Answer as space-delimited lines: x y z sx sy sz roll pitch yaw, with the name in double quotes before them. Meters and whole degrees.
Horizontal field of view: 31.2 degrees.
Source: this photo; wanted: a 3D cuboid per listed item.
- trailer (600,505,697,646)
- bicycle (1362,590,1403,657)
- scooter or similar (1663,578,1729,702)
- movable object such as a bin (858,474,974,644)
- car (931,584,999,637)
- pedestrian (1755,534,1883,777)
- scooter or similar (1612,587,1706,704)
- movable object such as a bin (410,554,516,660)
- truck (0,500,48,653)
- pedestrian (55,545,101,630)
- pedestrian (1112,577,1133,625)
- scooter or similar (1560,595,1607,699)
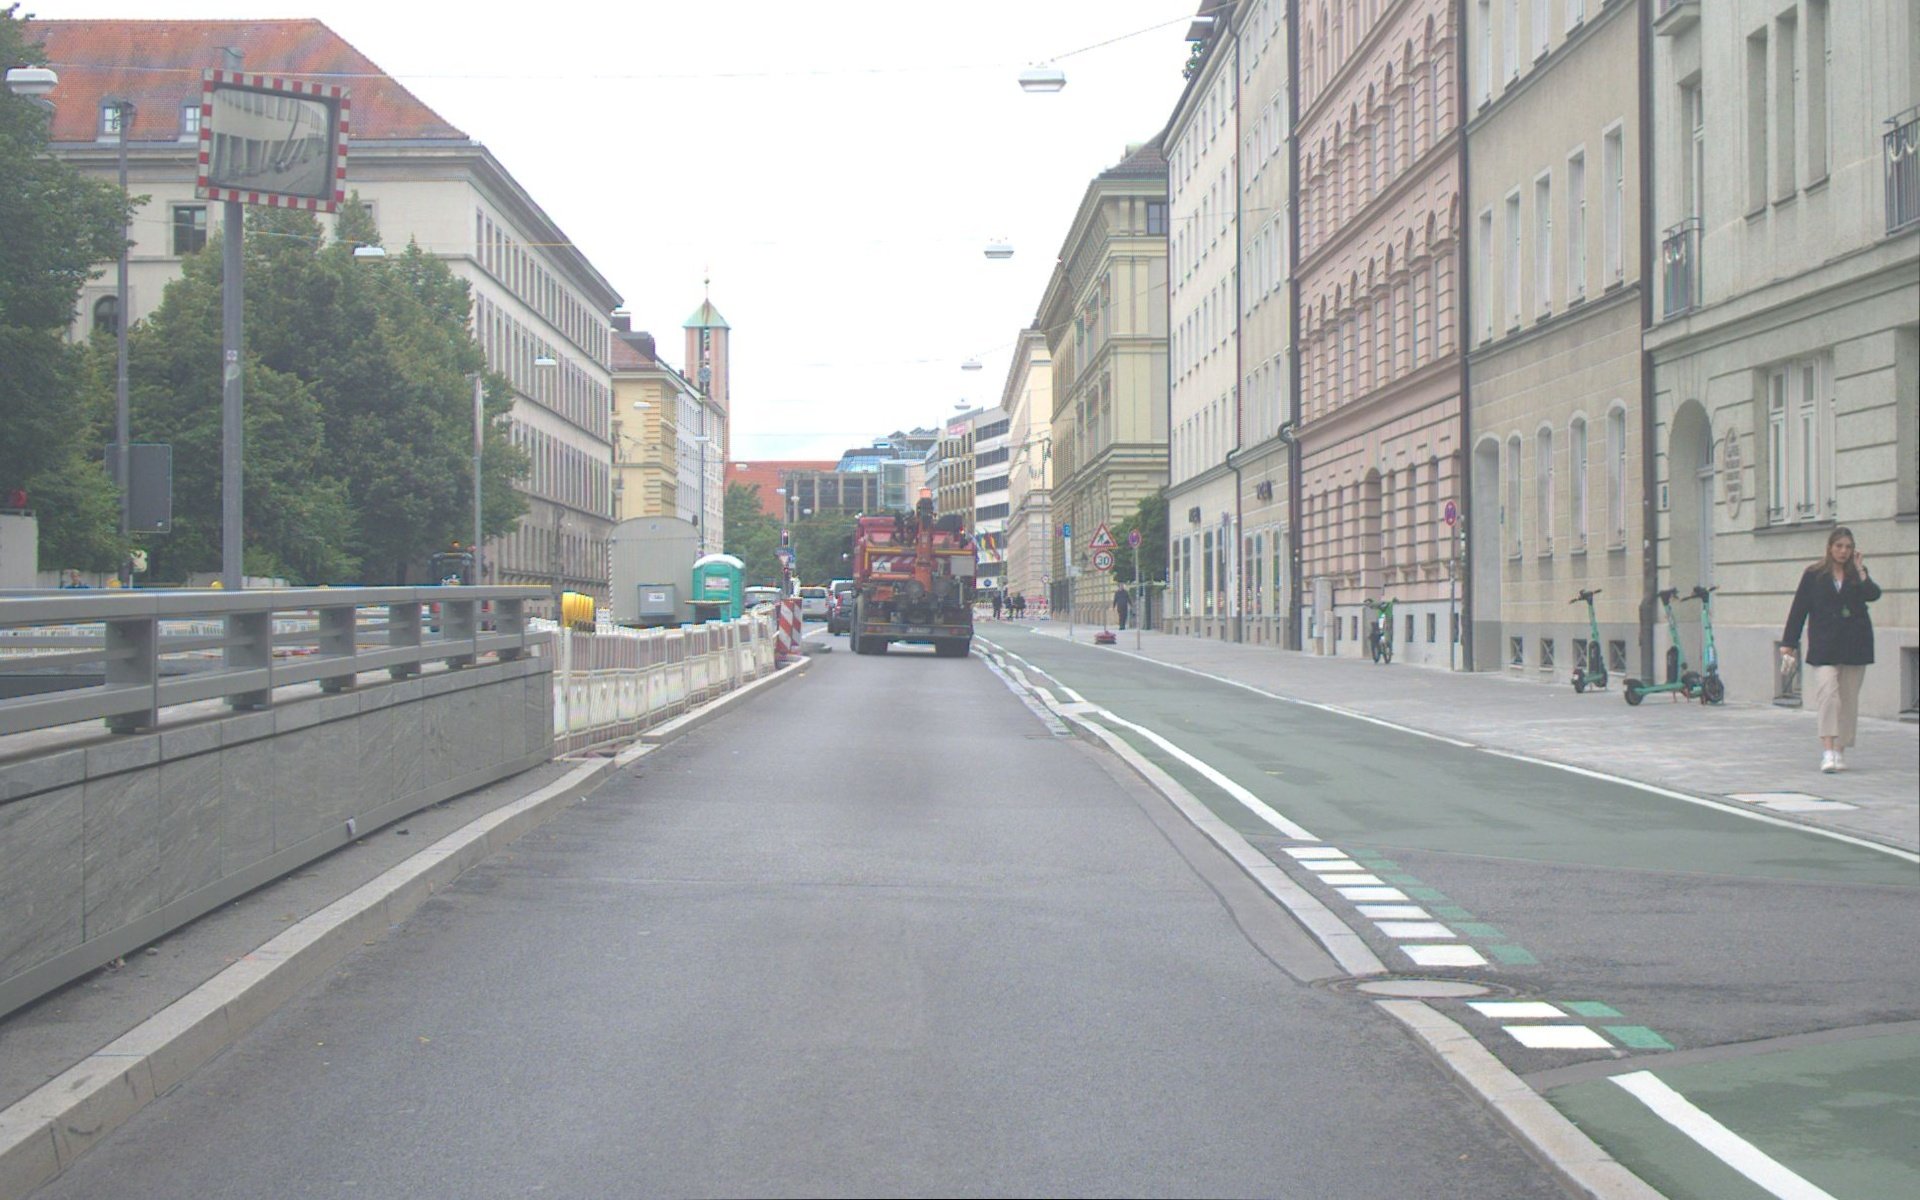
"trailer" -7.505 -0.581 82.567 2.226 3.232 7.520 0 0 -6
"bicycle" 7.464 0.404 60.668 0.426 1.170 1.730 -1 0 16
"scooter or similar" 7.693 0.414 35.973 0.386 1.268 1.119 -2 0 -1
"movable object such as a bin" -1.025 -0.874 75.975 2.423 3.599 5.852 1 0 -2
"car" 0.125 0.281 99.442 1.801 1.475 4.687 0 0 -2
"pedestrian" 5.882 0.374 23.571 0.664 1.630 0.737 -1 0 -1
"scooter or similar" 7.545 0.487 37.101 1.116 1.227 0.247 -1 -1 -34
"movable object such as a bin" -12.469 0.160 86.496 1.924 2.563 4.492 1 0 1
"truck" -18.001 -0.423 61.166 1.993 2.719 5.870 0 0 0
"pedestrian" -16.812 -0.240 65.535 0.663 1.597 0.698 1 0 0
"pedestrian" 6.267 0.031 132.858 0.790 1.830 0.777 0 0 1
"scooter or similar" 7.562 0.562 41.662 0.247 1.227 1.118 -2 -1 25
